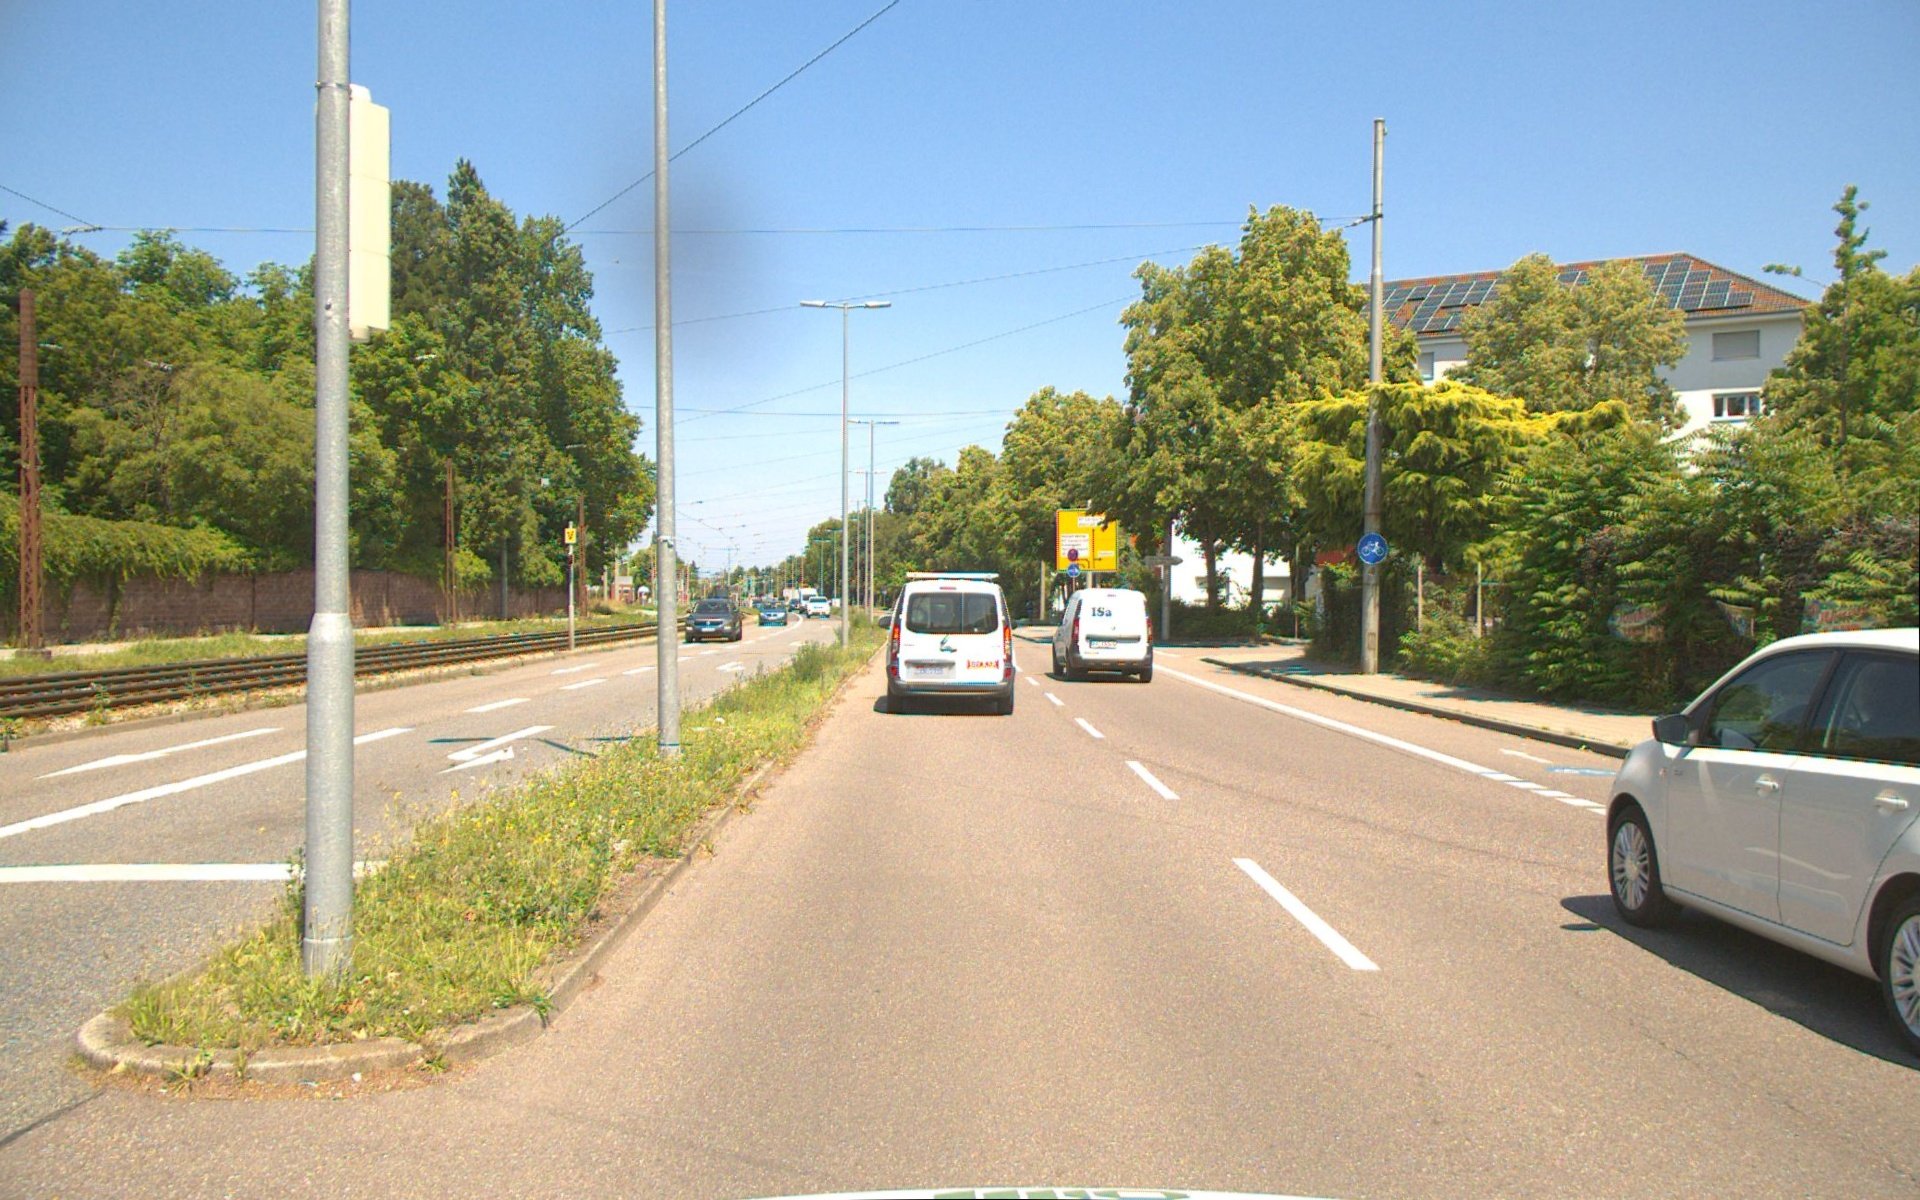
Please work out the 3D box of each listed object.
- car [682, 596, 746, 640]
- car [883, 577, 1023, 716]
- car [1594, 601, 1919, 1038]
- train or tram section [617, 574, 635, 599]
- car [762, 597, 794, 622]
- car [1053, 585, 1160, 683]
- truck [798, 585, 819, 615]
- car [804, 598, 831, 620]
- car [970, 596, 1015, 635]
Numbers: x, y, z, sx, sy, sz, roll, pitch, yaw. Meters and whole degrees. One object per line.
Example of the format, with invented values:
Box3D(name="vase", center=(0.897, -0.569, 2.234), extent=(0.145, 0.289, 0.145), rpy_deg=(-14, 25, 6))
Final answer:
Box3D(name="car", center=(-9.075, 0.645, 61.196), extent=(1.662, 1.539, 4.067), rpy_deg=(0, 0, 1))
Box3D(name="car", center=(-0.104, 0.596, 23.765), extent=(1.784, 1.770, 4.396), rpy_deg=(1, 0, 0))
Box3D(name="car", center=(4.106, 0.788, 6.825), extent=(1.577, 1.472, 3.435), rpy_deg=(2, 1, -1))
Box3D(name="train or tram section", center=(-48.969, -1.906, 242.785), extent=(1.957, 3.585, 16.130), rpy_deg=(2, 0, -10))
Box3D(name="car", center=(-10.819, 0.562, 98.574), extent=(1.663, 1.464, 3.998), rpy_deg=(-1, 0, -3))
Box3D(name="car", center=(2.930, 0.650, 33.741), extent=(1.692, 1.819, 4.063), rpy_deg=(2, 0, -1))
Box3D(name="truck", center=(-16.870, -0.025, 184.614), extent=(1.953, 3.270, 5.310), rpy_deg=(0, 0, -1))
Box3D(name="car", center=(-11.909, 0.729, 138.483), extent=(1.953, 1.847, 3.999), rpy_deg=(0, 0, -1))
Box3D(name="car", center=(1.399, 0.653, 72.531), extent=(1.797, 1.596, 4.000), rpy_deg=(2, 1, 0))
